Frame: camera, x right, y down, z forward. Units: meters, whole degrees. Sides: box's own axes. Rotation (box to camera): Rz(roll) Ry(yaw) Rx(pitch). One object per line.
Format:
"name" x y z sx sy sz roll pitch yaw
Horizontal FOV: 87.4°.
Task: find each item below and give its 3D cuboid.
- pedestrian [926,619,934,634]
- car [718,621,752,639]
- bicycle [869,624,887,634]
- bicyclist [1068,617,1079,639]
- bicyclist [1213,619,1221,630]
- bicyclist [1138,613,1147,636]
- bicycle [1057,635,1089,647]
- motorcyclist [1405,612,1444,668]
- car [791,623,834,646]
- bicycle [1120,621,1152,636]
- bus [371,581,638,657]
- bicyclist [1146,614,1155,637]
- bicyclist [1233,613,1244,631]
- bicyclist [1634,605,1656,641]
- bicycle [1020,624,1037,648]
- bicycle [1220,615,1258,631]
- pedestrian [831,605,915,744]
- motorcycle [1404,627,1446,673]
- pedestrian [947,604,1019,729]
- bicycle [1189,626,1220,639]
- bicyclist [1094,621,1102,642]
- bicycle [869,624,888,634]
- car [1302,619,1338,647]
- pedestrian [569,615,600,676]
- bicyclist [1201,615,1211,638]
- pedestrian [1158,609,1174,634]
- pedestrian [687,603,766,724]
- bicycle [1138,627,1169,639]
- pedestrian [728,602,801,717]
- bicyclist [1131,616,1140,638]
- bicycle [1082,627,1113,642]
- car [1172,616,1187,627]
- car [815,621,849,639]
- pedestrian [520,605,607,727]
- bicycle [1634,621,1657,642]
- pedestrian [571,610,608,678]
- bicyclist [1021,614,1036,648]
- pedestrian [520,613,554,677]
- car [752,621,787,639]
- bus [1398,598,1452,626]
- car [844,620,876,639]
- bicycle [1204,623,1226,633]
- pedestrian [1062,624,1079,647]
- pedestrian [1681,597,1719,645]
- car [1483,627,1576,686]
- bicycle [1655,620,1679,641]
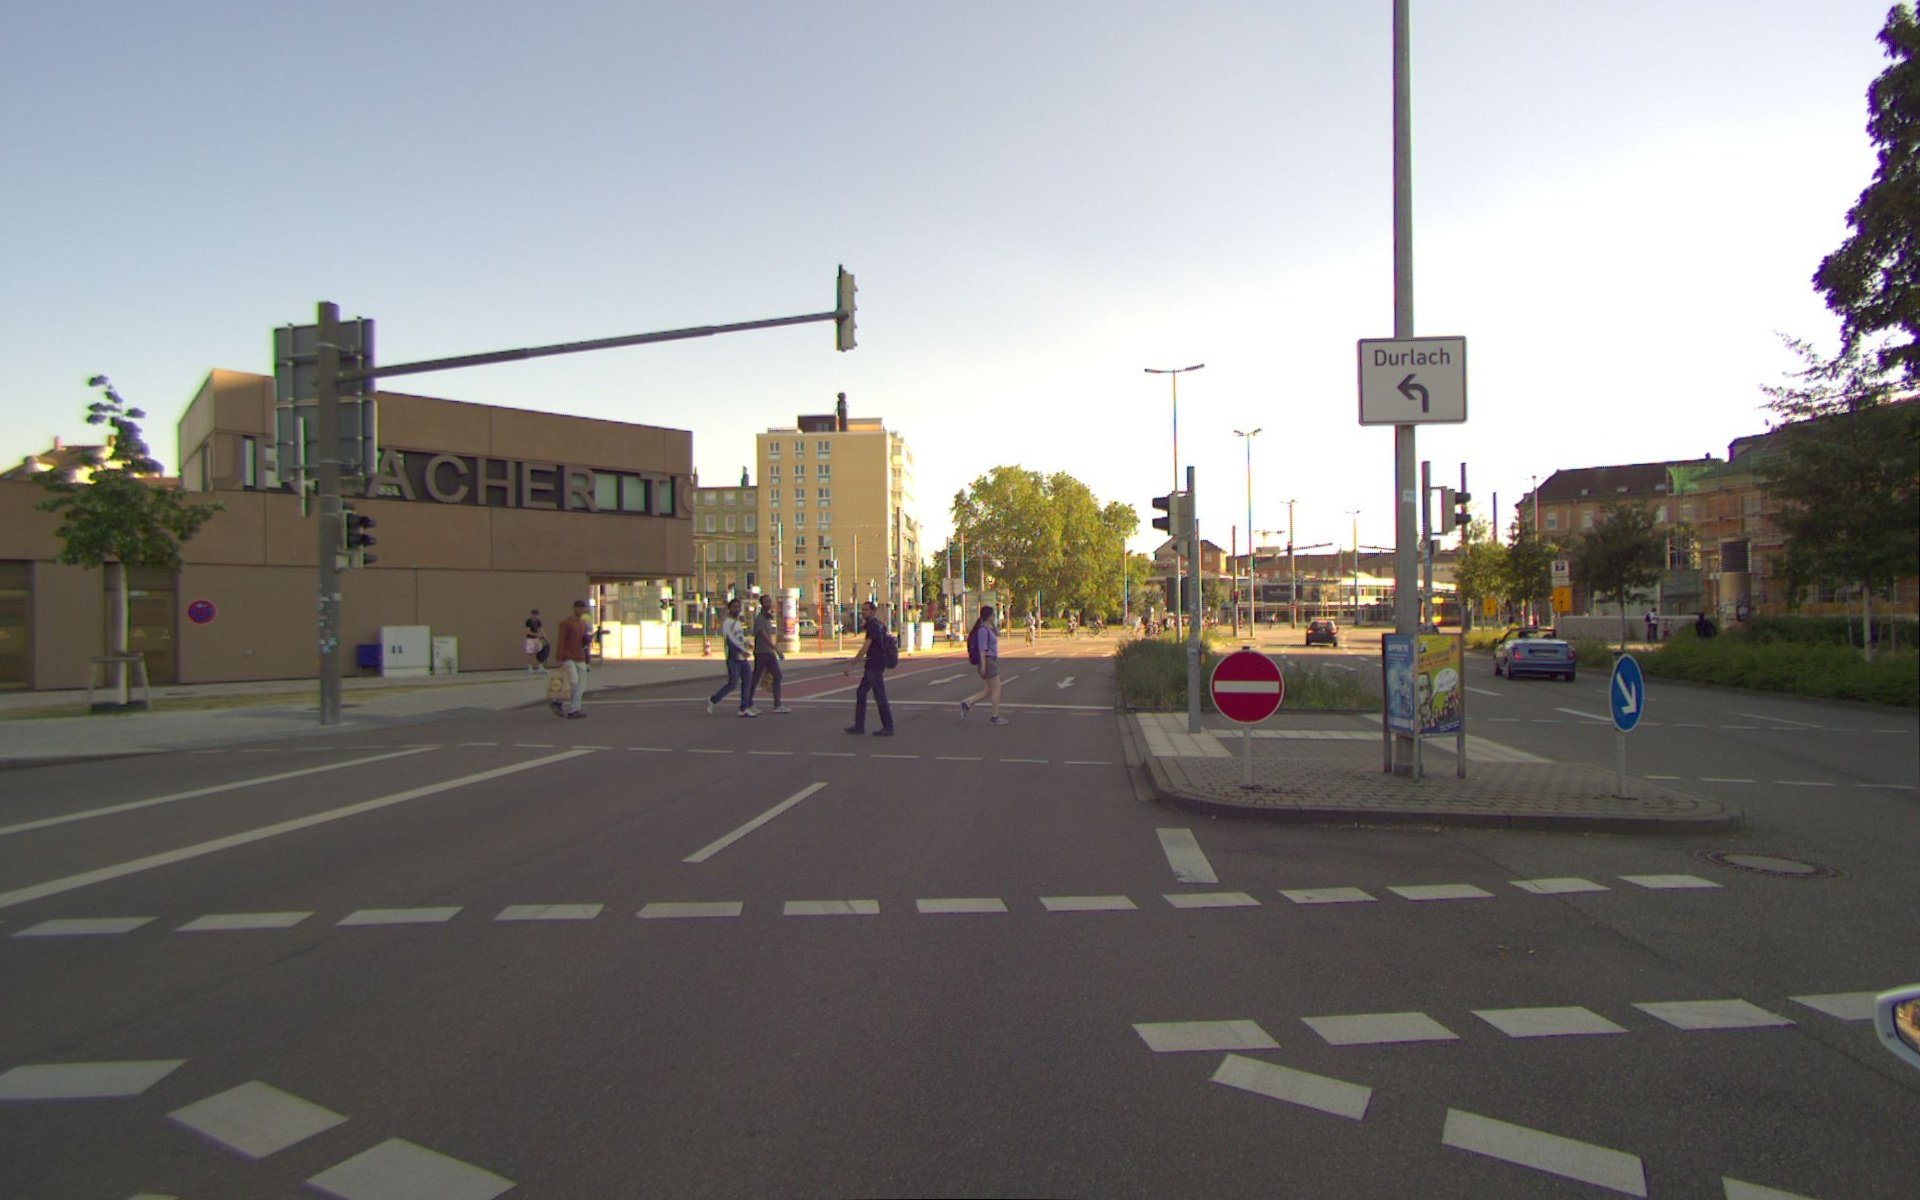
"pedestrian" -3.513 3.117 118.128 0.762 1.698 0.783 -1 -1 4
"car" -24.273 3.221 108.163 2.068 1.742 3.967 -1 1 -37
"bicycle" -9.406 3.344 115.355 2.008 1.105 0.777 -1 -1 2
"bicyclist" 8.934 2.199 79.249 0.733 1.713 0.860 0 1 0
"bicyclist" 28.162 2.672 110.052 0.701 1.158 0.837 0 1 19
"bicyclist" 14.332 1.950 78.828 0.573 1.801 0.867 -1 -1 1
"bicycle" 8.921 3.268 79.259 2.452 0.886 0.860 0 1 0
"motorcyclist" 14.764 1.251 31.928 1.078 1.744 0.936 0 -1 23
"car" -13.802 3.203 94.361 3.671 2.041 2.000 0 1 2
"bicycle" 14.065 2.281 80.333 2.451 1.148 0.860 0 1 3
"bus" -22.921 1.176 51.468 12.102 3.359 3.211 3 -7 -43
"bicyclist" 14.947 1.994 78.822 0.638 1.713 0.860 0 1 2
"bicyclist" 31.261 2.483 112.792 1.052 1.926 1.123 0 1 3
"bicyclist" 35.685 1.186 52.320 0.775 1.809 0.892 -3 -3 29
"bicycle" 3.761 1.949 55.047 0.727 1.272 2.558 0 -2 9
"bicycle" 31.313 2.600 112.765 3.920 1.713 1.139 0 1 3
"pedestrian" -1.095 0.922 12.797 0.881 1.707 0.748 -1 0 11
"motorcycle" 14.776 1.566 31.967 1.078 1.395 2.652 0 -1 22
"pedestrian" 0.345 0.961 14.675 0.909 1.764 0.757 -1 -1 11
"bicycle" 19.030 2.541 78.248 2.257 0.918 0.860 0 1 6
"bicyclist" 11.084 2.537 80.802 0.638 1.713 0.860 0 1 10
"bicycle" -9.419 3.332 116.205 2.008 1.105 0.777 -1 -1 2
"car" 20.217 1.801 56.348 1.771 1.463 3.977 1 -1 21
"pedestrian" -10.723 1.292 28.683 0.628 1.711 0.548 0 1 34
"bicyclist" 19.150 2.053 78.223 0.638 1.713 0.860 0 1 6
"pedestrian" 14.114 1.477 68.704 0.816 1.694 0.696 0 -1 -18
"pedestrian" -3.497 0.937 15.062 0.909 1.764 0.757 -1 -1 11
"bicycle" 15.181 2.596 78.812 2.257 0.918 0.860 0 1 2
"pedestrian" -3.076 0.921 15.859 0.909 1.764 0.757 -1 -1 11
"bicyclist" 14.030 2.165 80.339 0.638 1.713 0.860 0 1 4
"bicycle" 11.061 2.789 80.807 2.450 1.148 0.860 0 1 10
"car" 34.591 3.416 158.284 1.960 1.555 4.001 0 1 16
"car" -13.668 3.155 107.134 1.824 1.772 3.954 -1 1 -40
"pedestrian" -5.924 0.968 15.036 0.909 1.764 0.788 -1 -1 11
"bicycle" 35.727 1.616 52.347 0.778 1.052 1.960 -3 -3 29
"pedestrian" -10.308 1.212 27.942 0.704 1.860 0.639 0 1 21
"bicyclist" 3.752 1.690 55.017 0.727 1.856 1.014 0 -1 9
"pedestrian" -11.863 1.251 28.186 0.660 1.754 0.727 -1 2 -44
"car" -20.479 3.202 107.821 2.068 1.742 3.967 -1 1 -37
"bus" 52.592 1.298 113.531 9.513 2.922 2.331 -1 1 -44
"car" -10.728 3.124 107.463 1.832 1.882 3.964 -1 1 -32
"bicycle" 27.963 3.086 110.136 2.258 0.972 0.860 -2 1 19
"pedestrian" 7.832 2.519 71.141 1.074 1.628 0.699 0 1 11
"pedestrian" 26.461 0.740 35.918 0.792 1.681 0.790 -1 0 12
"car" 15.993 1.529 28.389 1.772 1.463 3.977 1 -1 22
"bicycle" 36.673 1.559 52.083 1.949 1.052 0.620 0 -3 -44
